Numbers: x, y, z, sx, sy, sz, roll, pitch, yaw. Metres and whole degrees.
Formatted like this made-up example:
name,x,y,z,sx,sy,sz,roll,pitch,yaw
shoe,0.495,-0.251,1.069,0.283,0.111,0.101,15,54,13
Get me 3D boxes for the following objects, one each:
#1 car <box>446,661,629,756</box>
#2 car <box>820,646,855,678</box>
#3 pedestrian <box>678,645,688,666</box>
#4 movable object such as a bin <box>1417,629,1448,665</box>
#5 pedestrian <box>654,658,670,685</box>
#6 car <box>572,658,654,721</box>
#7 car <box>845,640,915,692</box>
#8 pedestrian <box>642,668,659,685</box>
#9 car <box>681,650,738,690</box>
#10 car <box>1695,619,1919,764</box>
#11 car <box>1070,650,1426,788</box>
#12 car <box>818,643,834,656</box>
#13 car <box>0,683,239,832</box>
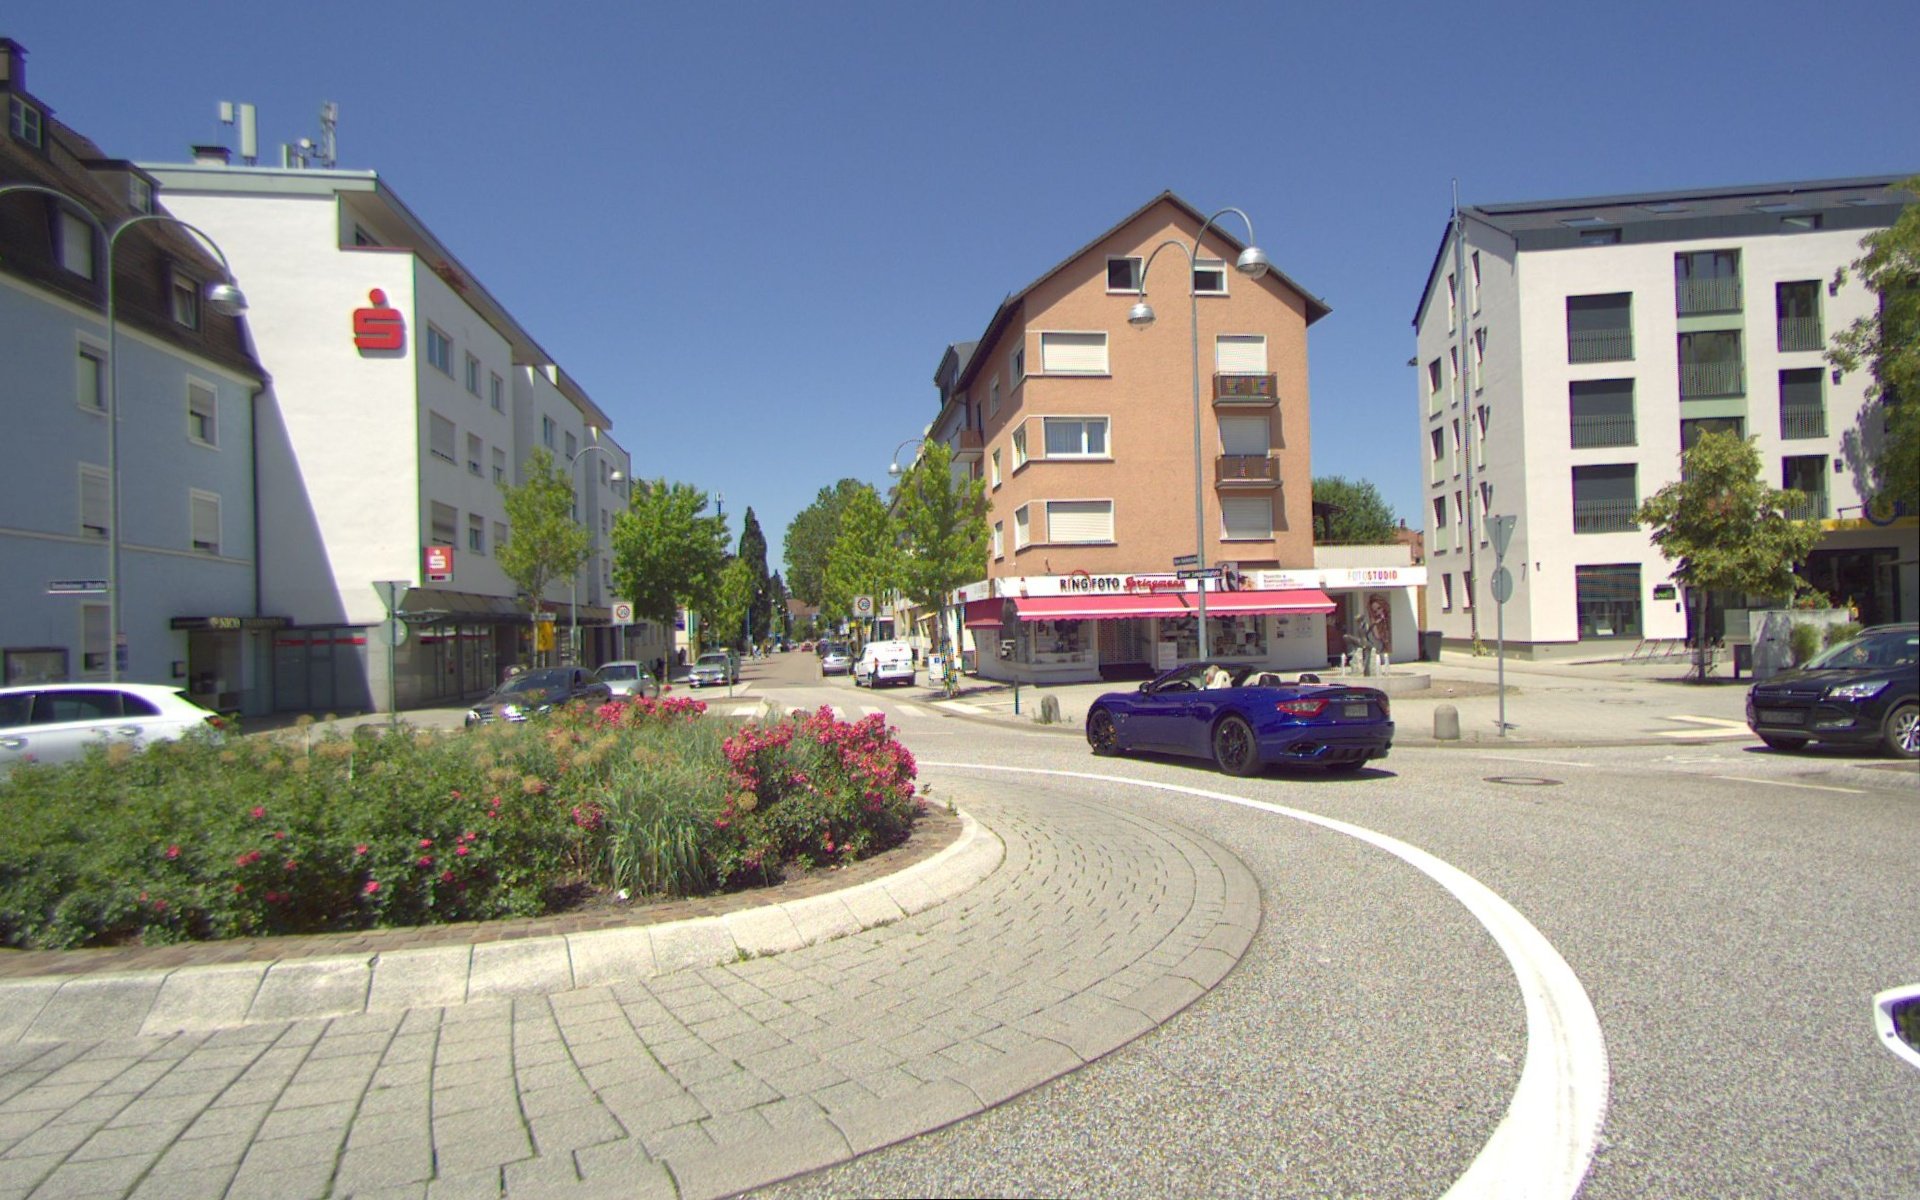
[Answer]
name,x,y,z,sx,sy,sz,roll,pitch,yaw
car,-8.521,2.121,20.779,1.962,1.497,4.708,-3,-2,-3
car,-6.677,3.333,54.586,1.715,1.570,3.940,-3,-3,-8
pedestrian,-24.221,4.845,87.848,0.649,1.703,0.627,-3,1,-26
movable object such as a bin,16.513,1.637,35.134,0.745,1.170,0.774,-3,1,9
pedestrian,-15.740,3.773,53.089,0.558,1.390,0.667,-3,-2,1
car,-9.641,2.456,28.162,1.676,1.477,3.781,-3,-2,-13
car,-3.099,2.489,38.380,1.725,1.746,3.896,-3,-2,-18
pedestrian,-16.606,4.109,53.952,0.653,0.869,0.733,-3,-5,1
car,-11.326,3.120,45.751,1.963,1.613,4.993,-2,-2,-8
car,12.795,1.133,13.617,4.445,1.710,1.997,-1,-2,-10
car,3.445,1.374,13.074,1.955,1.416,4.601,0,-3,-24
car,-17.254,6.351,129.025,1.946,1.469,4.343,-4,-1,-8
car,-10.164,1.639,10.159,1.900,1.399,4.279,-7,-7,31
